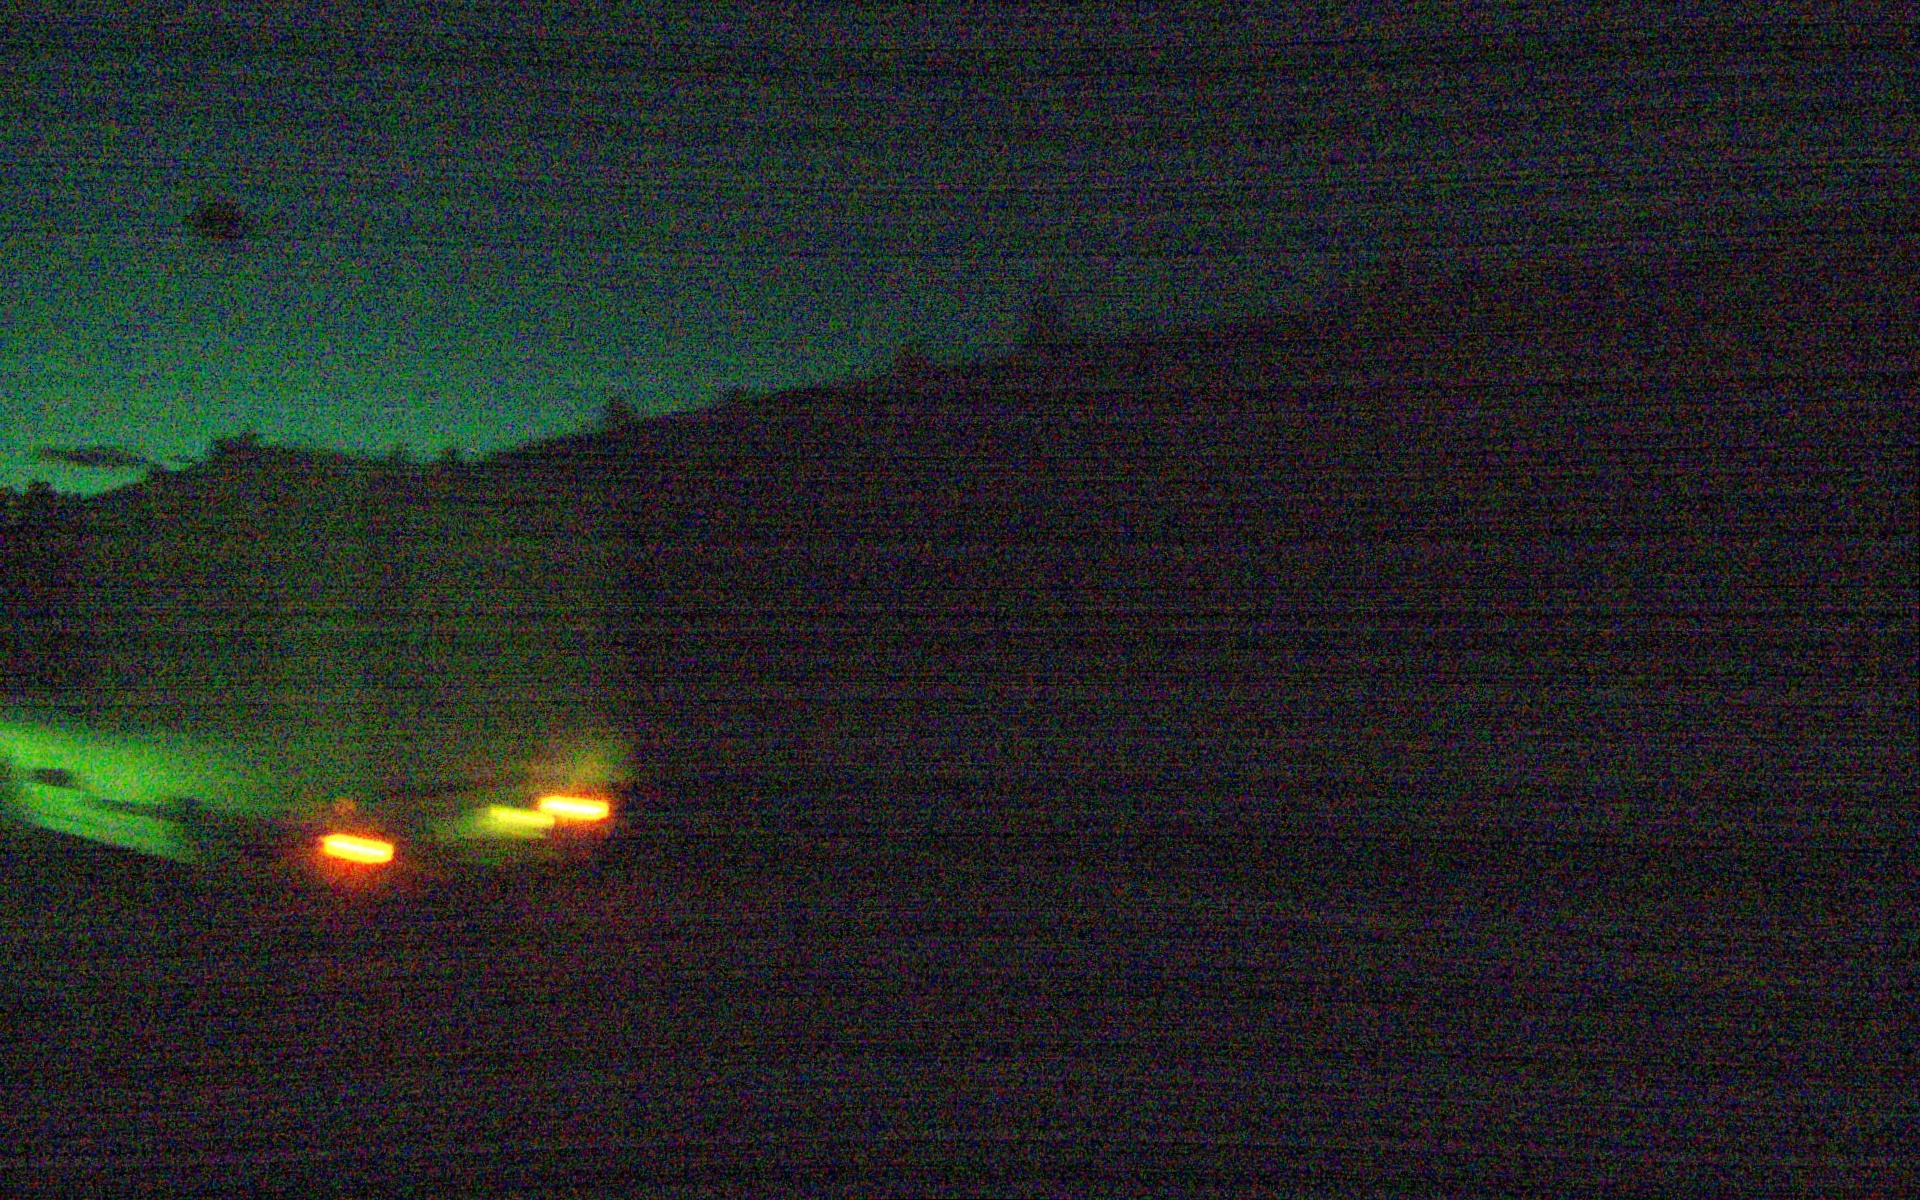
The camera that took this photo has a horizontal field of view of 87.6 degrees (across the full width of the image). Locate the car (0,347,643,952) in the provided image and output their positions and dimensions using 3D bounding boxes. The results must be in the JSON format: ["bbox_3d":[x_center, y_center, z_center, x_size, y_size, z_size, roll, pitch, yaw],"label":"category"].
[{"bbox_3d":[-4.840,0.283,6.873,5.646,2.681,2.028,-1,-1,34],"label":"car"}]
